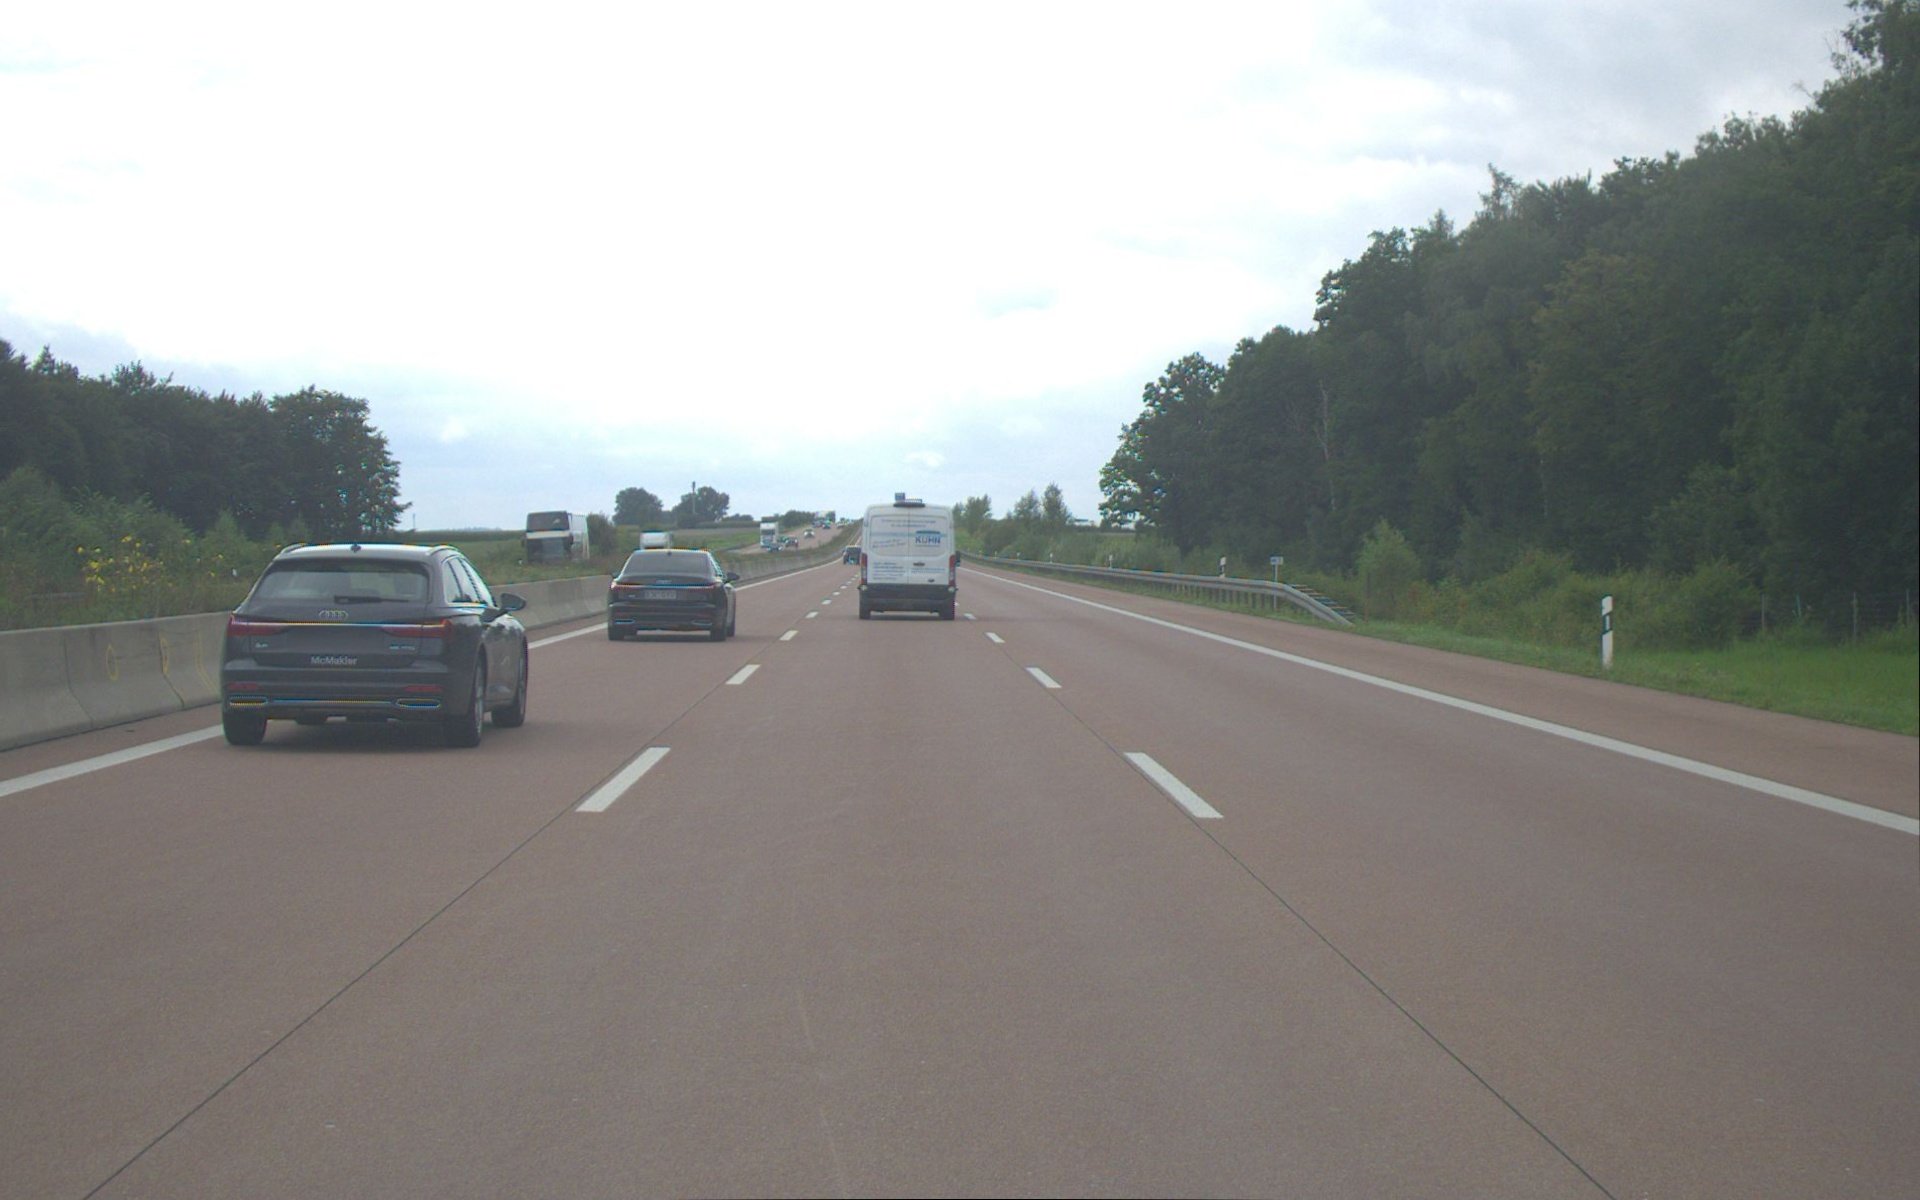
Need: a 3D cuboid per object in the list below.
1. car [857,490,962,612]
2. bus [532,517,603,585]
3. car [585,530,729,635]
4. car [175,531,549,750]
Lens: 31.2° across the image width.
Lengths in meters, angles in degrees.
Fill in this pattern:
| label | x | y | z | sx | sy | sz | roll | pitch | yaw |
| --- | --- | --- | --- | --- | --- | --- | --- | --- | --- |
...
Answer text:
| label | x | y | z | sx | sy | sz | roll | pitch | yaw |
| --- | --- | --- | --- | --- | --- | --- | --- | --- | --- |
| car | -1.085 | -1.096 | 74.062 | 2.137 | 2.498 | 7.132 | 0 | 1 | -1 |
| bus | -23.344 | -2.939 | 205.108 | 3.048 | 3.875 | 14.364 | 1 | 1 | -2 |
| car | -4.839 | -0.330 | 55.627 | 2.085 | 1.545 | 5.675 | 1 | 1 | -3 |
| car | -4.462 | 0.227 | 26.525 | 2.059 | 1.486 | 5.453 | 1 | 1 | -1 |
